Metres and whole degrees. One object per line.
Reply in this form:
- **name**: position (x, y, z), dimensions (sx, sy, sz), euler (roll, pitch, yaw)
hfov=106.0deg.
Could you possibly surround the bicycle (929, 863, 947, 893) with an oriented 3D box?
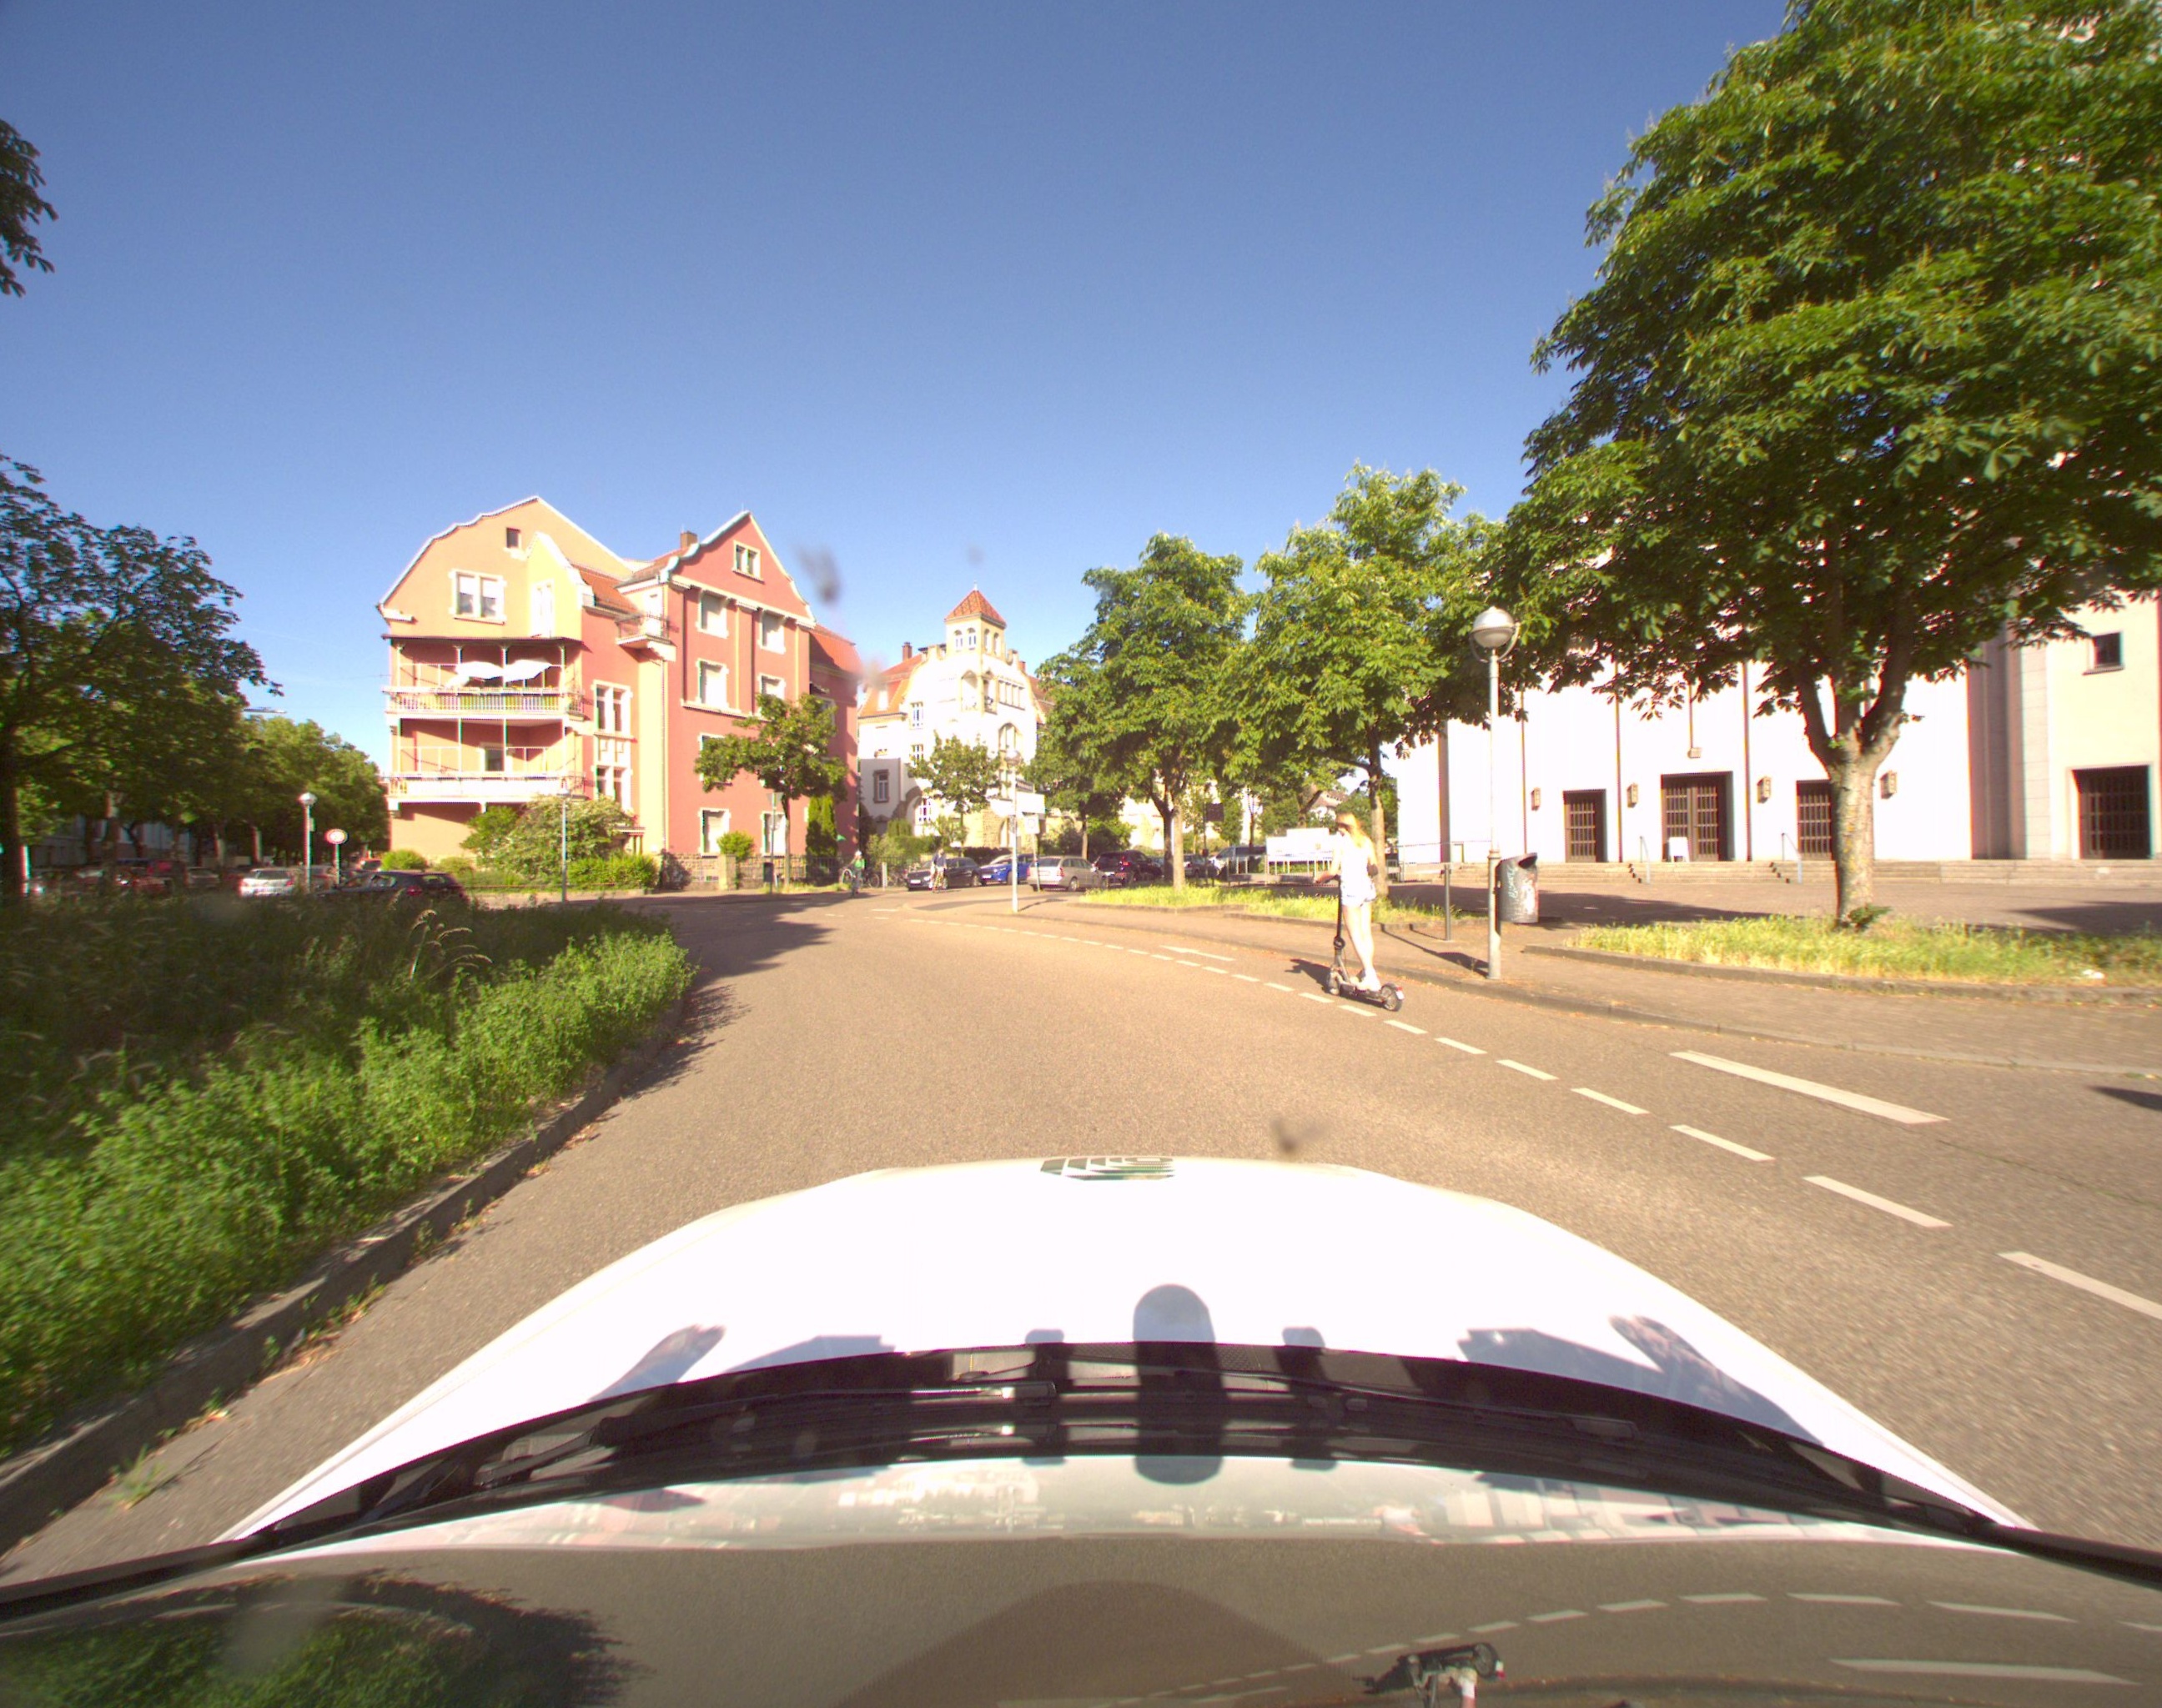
- **bicycle**: position (-5.515, 0.911, 31.458), dimensions (0.643, 1.108, 1.712), euler (-1, -1, -9)

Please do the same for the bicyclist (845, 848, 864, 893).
- **bicyclist**: position (-8.257, 0.595, 29.699), dimensions (0.594, 1.581, 0.801), euler (-1, -1, -11)

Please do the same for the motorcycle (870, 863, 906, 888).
- **motorcycle**: position (-9.248, 1.023, 39.024), dimensions (1.706, 1.107, 0.503), euler (1, 1, 21)

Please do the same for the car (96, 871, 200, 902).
- **car**: position (-46.594, 1.601, 40.694), dimensions (3.357, 1.470, 1.690), euler (0, -1, 4)

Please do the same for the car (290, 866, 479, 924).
- **car**: position (-18.639, 1.064, 21.851), dimensions (3.958, 1.419, 1.878), euler (-1, 0, 14)

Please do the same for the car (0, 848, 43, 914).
- **car**: position (-45.762, 1.053, 32.608), dimensions (6.322, 2.600, 2.107), euler (0, -1, 7)

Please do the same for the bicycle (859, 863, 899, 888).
- **bicycle**: position (-9.532, 0.996, 38.403), dimensions (1.811, 1.107, 0.502), euler (1, 0, 12)

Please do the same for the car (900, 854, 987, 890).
- **car**: position (-6.282, 0.806, 37.683), dimensions (1.788, 1.483, 4.362), euler (-4, -1, 23)

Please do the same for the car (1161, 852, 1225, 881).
- **car**: position (6.058, 0.643, 43.749), dimensions (1.786, 1.474, 4.366), euler (0, 0, 31)

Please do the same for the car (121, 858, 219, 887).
- **car**: position (-47.619, 0.967, 42.604), dimensions (3.357, 1.470, 1.690), euler (0, -1, 4)

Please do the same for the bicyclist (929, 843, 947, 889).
- **bicyclist**: position (-5.507, 0.473, 31.390), dimensions (0.643, 1.715, 0.721), euler (-1, -2, -9)

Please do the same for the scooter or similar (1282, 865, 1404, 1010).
- **scooter or similar**: position (2.525, 0.760, 7.949), dimensions (0.631, 1.283, 1.100), euler (-1, 0, -15)

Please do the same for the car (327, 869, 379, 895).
- **car**: position (-40.643, 1.542, 45.536), dimensions (1.694, 1.382, 3.246), euler (1, -1, -34)

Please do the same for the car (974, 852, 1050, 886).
- **car**: position (-3.527, 0.755, 42.730), dimensions (1.787, 1.561, 4.426), euler (-4, -1, 28)

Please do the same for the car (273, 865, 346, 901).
- **car**: position (-35.245, 1.274, 37.309), dimensions (1.694, 1.562, 4.250), euler (1, -1, -34)

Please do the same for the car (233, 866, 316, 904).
- **car**: position (-32.537, 1.216, 32.947), dimensions (1.694, 1.447, 3.509), euler (1, -1, -34)

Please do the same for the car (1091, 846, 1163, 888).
- **car**: position (2.122, 0.543, 36.517), dimensions (1.788, 1.728, 4.363), euler (0, 0, 24)

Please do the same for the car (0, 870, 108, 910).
- **car**: position (-40.001, 1.337, 30.786), dimensions (3.908, 1.447, 1.683), euler (0, -1, -9)

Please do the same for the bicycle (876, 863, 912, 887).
- **bicycle**: position (-9.079, 1.021, 39.575), dimensions (1.706, 1.107, 0.503), euler (1, 1, 21)

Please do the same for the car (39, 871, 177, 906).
- **car**: position (-42.093, 1.470, 35.328), dimensions (3.384, 1.447, 1.677), euler (1, -1, -20)

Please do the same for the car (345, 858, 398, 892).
- **car**: position (-44.763, 1.314, 51.482), dimensions (1.950, 2.044, 4.230), euler (1, -1, -34)

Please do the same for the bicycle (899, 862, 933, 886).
- **bicycle**: position (-8.294, 0.997, 40.908), dimensions (1.705, 1.107, 0.519), euler (1, 1, 25)

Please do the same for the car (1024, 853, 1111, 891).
- **car**: position (-0.463, 0.659, 32.380), dimensions (1.788, 1.416, 4.363), euler (0, 0, 24)

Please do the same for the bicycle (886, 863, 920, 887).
- **bicycle**: position (-8.776, 1.016, 40.131), dimensions (1.705, 1.107, 0.504), euler (1, 1, 25)

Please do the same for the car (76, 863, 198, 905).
- **car**: position (-43.293, 1.356, 37.400), dimensions (3.367, 1.865, 1.685), euler (0, -1, -5)

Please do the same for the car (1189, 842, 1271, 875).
- **car**: position (9.329, 0.256, 51.070), dimensions (4.721, 2.001, 1.820), euler (0, 0, 24)

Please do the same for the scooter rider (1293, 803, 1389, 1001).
- **scooter rider**: position (2.525, 0.441, 7.950), dimensions (0.624, 1.832, 0.628), euler (-1, 0, -15)

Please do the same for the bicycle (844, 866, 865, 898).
- **bicycle**: position (-8.243, 0.995, 29.678), dimensions (0.594, 1.107, 1.856), euler (-1, -1, -11)

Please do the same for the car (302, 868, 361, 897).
- **car**: position (-37.922, 1.404, 41.269), dimensions (1.694, 1.382, 3.246), euler (1, -1, -34)

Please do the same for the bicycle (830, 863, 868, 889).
- **bicycle**: position (-10.491, 0.986, 36.804), dimensions (1.705, 1.115, 0.549), euler (1, 1, 28)

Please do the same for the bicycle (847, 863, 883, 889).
- **bicycle**: position (-9.994, 0.999, 37.654), dimensions (1.705, 1.115, 0.549), euler (1, 1, 28)
